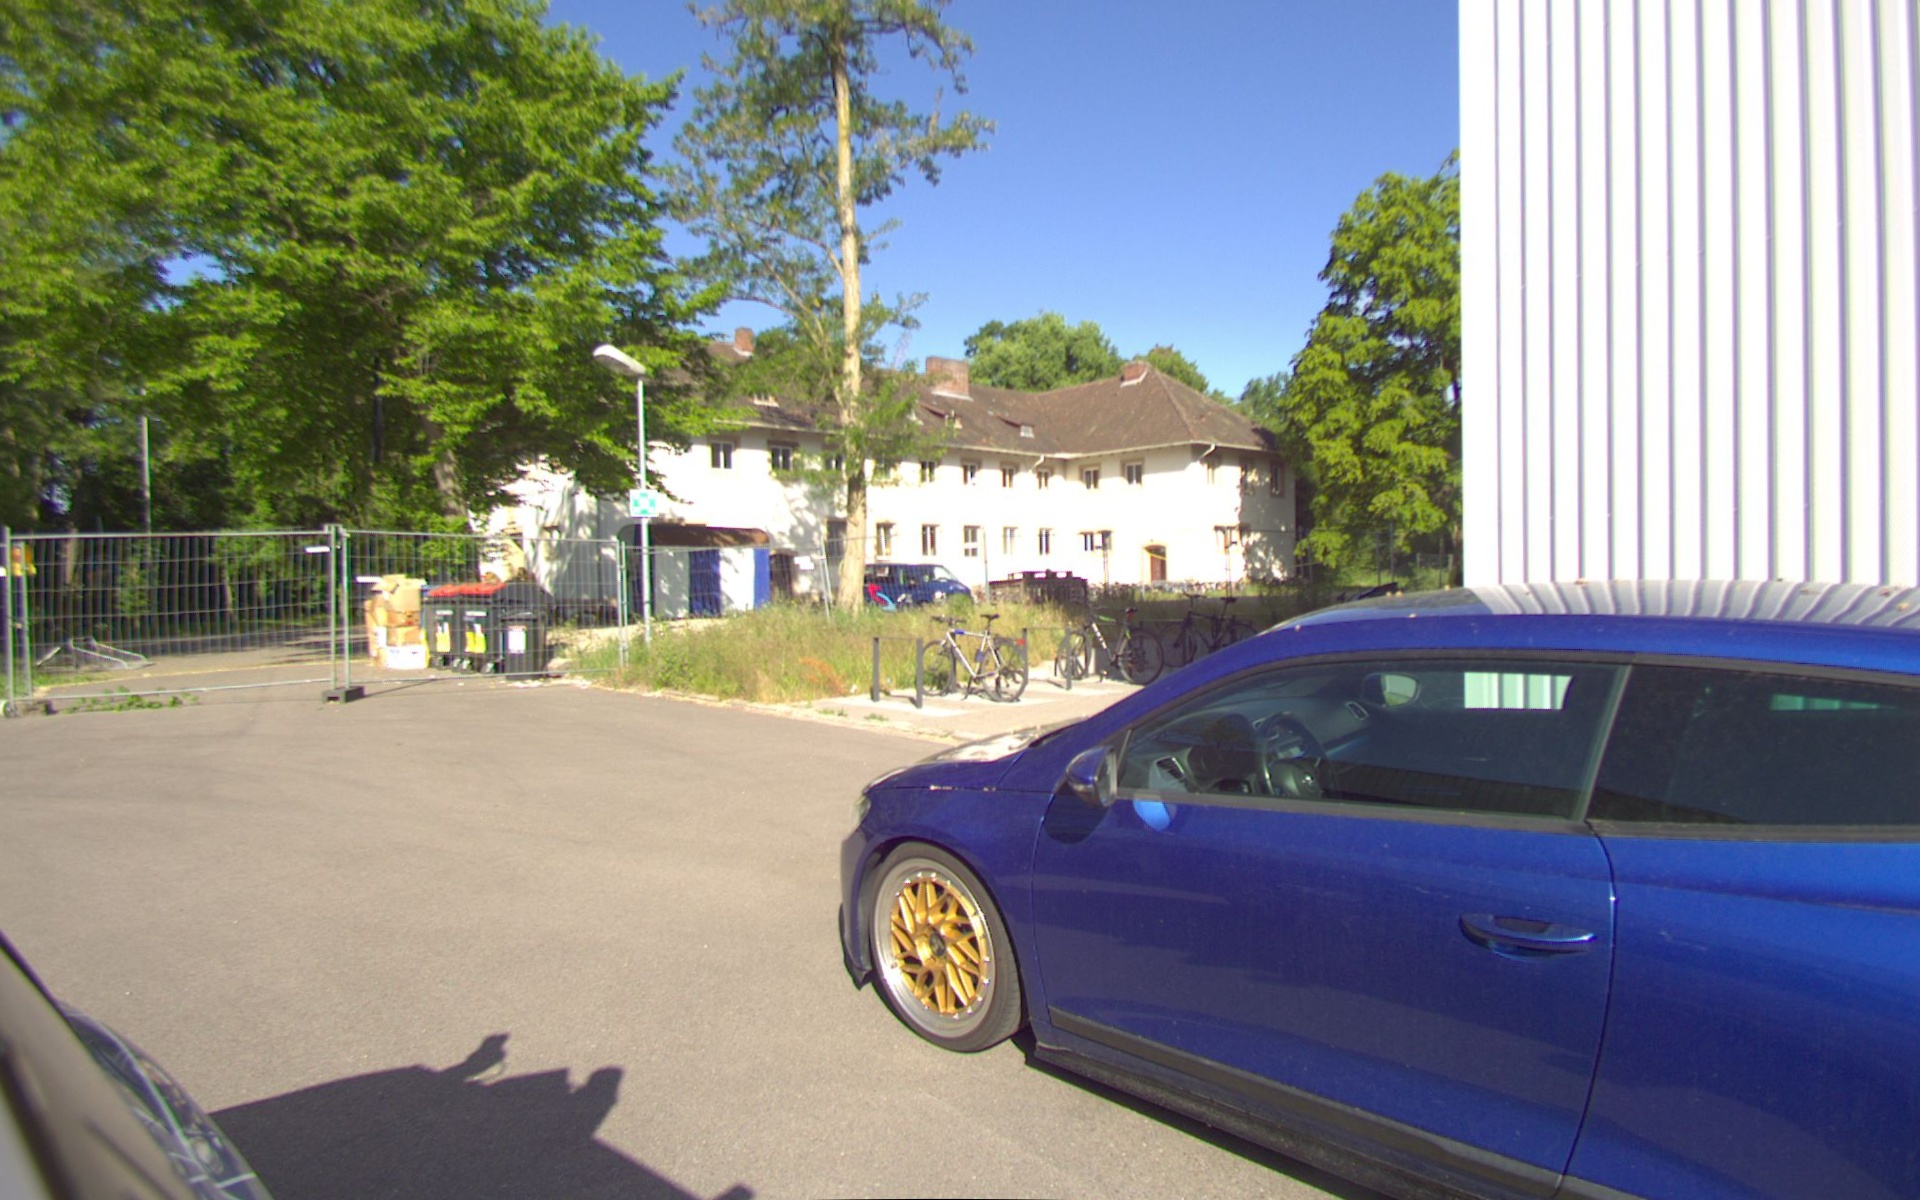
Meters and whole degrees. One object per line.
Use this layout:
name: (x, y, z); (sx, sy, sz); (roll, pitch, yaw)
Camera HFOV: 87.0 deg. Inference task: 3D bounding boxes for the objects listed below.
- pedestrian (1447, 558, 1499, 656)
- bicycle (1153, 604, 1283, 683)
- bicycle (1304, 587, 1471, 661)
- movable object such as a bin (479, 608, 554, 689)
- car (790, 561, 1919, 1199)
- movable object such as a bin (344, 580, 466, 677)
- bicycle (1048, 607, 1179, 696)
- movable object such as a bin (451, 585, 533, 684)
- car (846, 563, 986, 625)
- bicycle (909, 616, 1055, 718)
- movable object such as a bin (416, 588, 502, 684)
pedestrian: (9.349, 0.124, 18.457); (0.625, 1.741, 0.513); (-1, 1, -10)
bicycle: (3.840, 0.621, 15.193); (0.518, 1.103, 1.895); (-1, 0, -44)
bicycle: (7.965, 0.415, 18.981); (1.123, 1.275, 2.644); (-2, 1, -39)
movable object such as a bin: (-6.508, 0.689, 14.854); (0.806, 1.105, 0.740); (-2, 1, -40)
car: (1.425, 0.631, 2.516); (1.649, 1.360, 3.957); (-4, 3, -44)
movable object such as a bin: (-9.924, 0.468, 18.076); (2.294, 1.603, 1.159); (-1, 1, 41)
bicycle: (2.014, 0.643, 13.469); (0.516, 1.090, 1.800); (-2, 1, -41)
movable object such as a bin: (-7.289, 0.513, 15.747); (1.248, 1.455, 0.693); (-1, 1, 41)
car: (-1.537, -0.187, 33.991); (4.725, 1.916, 1.972); (-1, 0, 43)
bicycle: (0.225, 0.735, 11.693); (1.805, 1.070, 0.453); (-1, 1, 42)
movable object such as a bin: (-8.301, 0.570, 16.759); (1.341, 1.495, 0.796); (-1, 1, 41)
